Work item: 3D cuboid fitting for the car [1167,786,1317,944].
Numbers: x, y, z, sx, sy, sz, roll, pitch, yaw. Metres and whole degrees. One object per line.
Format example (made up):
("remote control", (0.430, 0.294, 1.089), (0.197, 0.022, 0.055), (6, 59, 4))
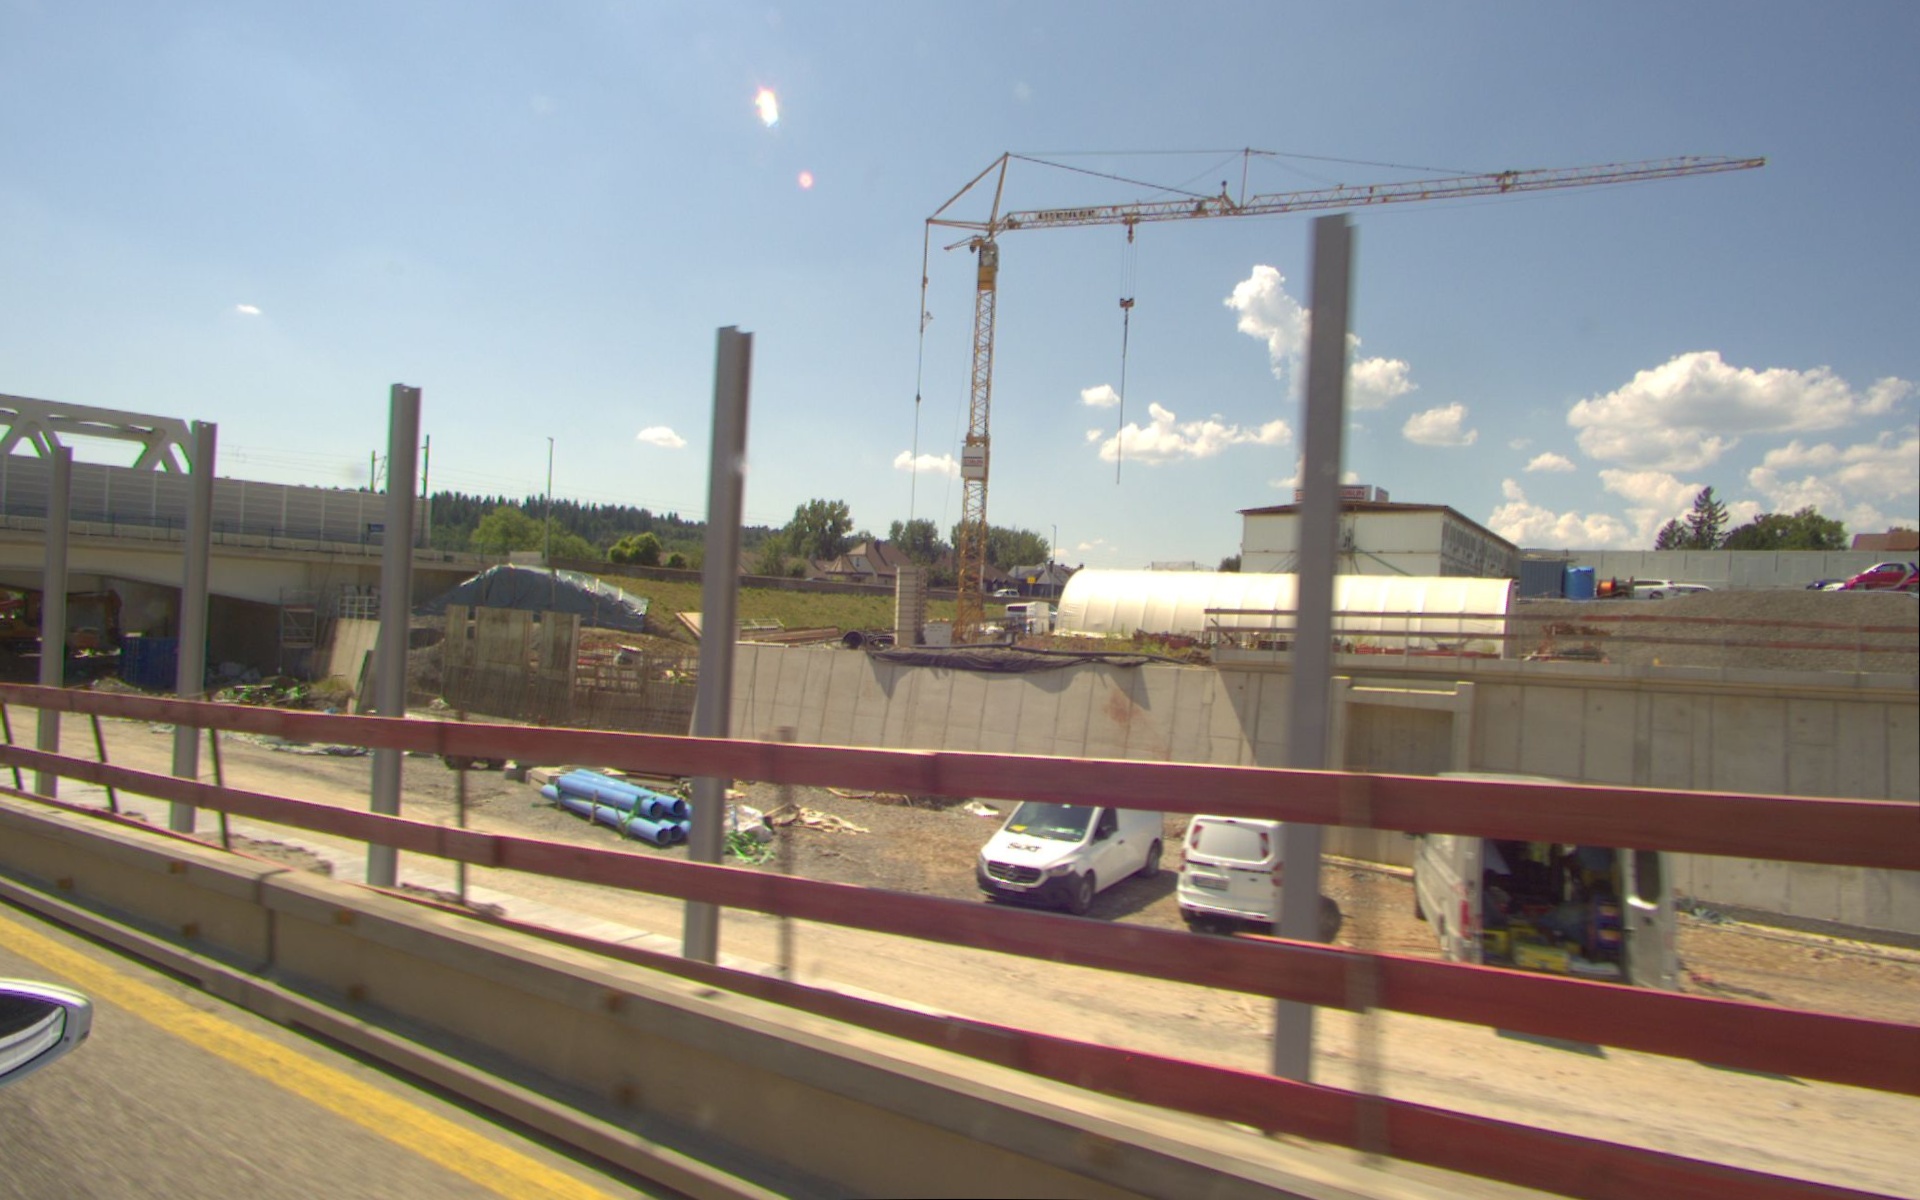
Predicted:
("car", (4.709, 4.165, 16.370), (1.666, 1.706, 3.862), (0, -3, 27))

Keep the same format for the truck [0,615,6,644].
("truck", (-72.740, 1.974, 71.347), (2.629, 2.099, 6.507), (1, -3, 35))

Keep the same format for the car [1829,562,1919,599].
("car", (41.596, -0.848, 45.021), (3.556, 1.505, 1.539), (-1, -2, 32))

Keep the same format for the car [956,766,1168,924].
("car", (1.947, 4.047, 17.367), (1.695, 1.791, 4.785), (2, -3, 32))

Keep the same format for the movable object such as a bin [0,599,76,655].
("movable object such as a bin", (-58.834, 1.727, 62.768), (2.951, 3.327, 4.543), (-1, -4, 36))

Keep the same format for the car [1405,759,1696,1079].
("car", (7.458, 3.745, 13.454), (2.018, 2.612, 6.305), (2, -4, 18))

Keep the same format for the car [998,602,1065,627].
("car", (6.036, 1.245, 84.684), (5.499, 1.984, 1.988), (-2, -2, 36))

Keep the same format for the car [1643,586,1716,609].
("car", (51.702, -0.162, 72.065), (4.157, 1.505, 1.721), (-1, -2, 34))

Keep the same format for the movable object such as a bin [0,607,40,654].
("movable object such as a bin", (-64.964, 1.978, 66.466), (2.464, 3.094, 5.227), (-1, -4, 35))

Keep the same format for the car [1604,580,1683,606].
("car", (44.079, -0.413, 64.641), (4.160, 1.505, 1.719), (-2, -2, 36))

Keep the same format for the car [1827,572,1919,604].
("car", (47.688, -0.621, 51.689), (4.155, 1.505, 1.722), (-1, -2, 32))
